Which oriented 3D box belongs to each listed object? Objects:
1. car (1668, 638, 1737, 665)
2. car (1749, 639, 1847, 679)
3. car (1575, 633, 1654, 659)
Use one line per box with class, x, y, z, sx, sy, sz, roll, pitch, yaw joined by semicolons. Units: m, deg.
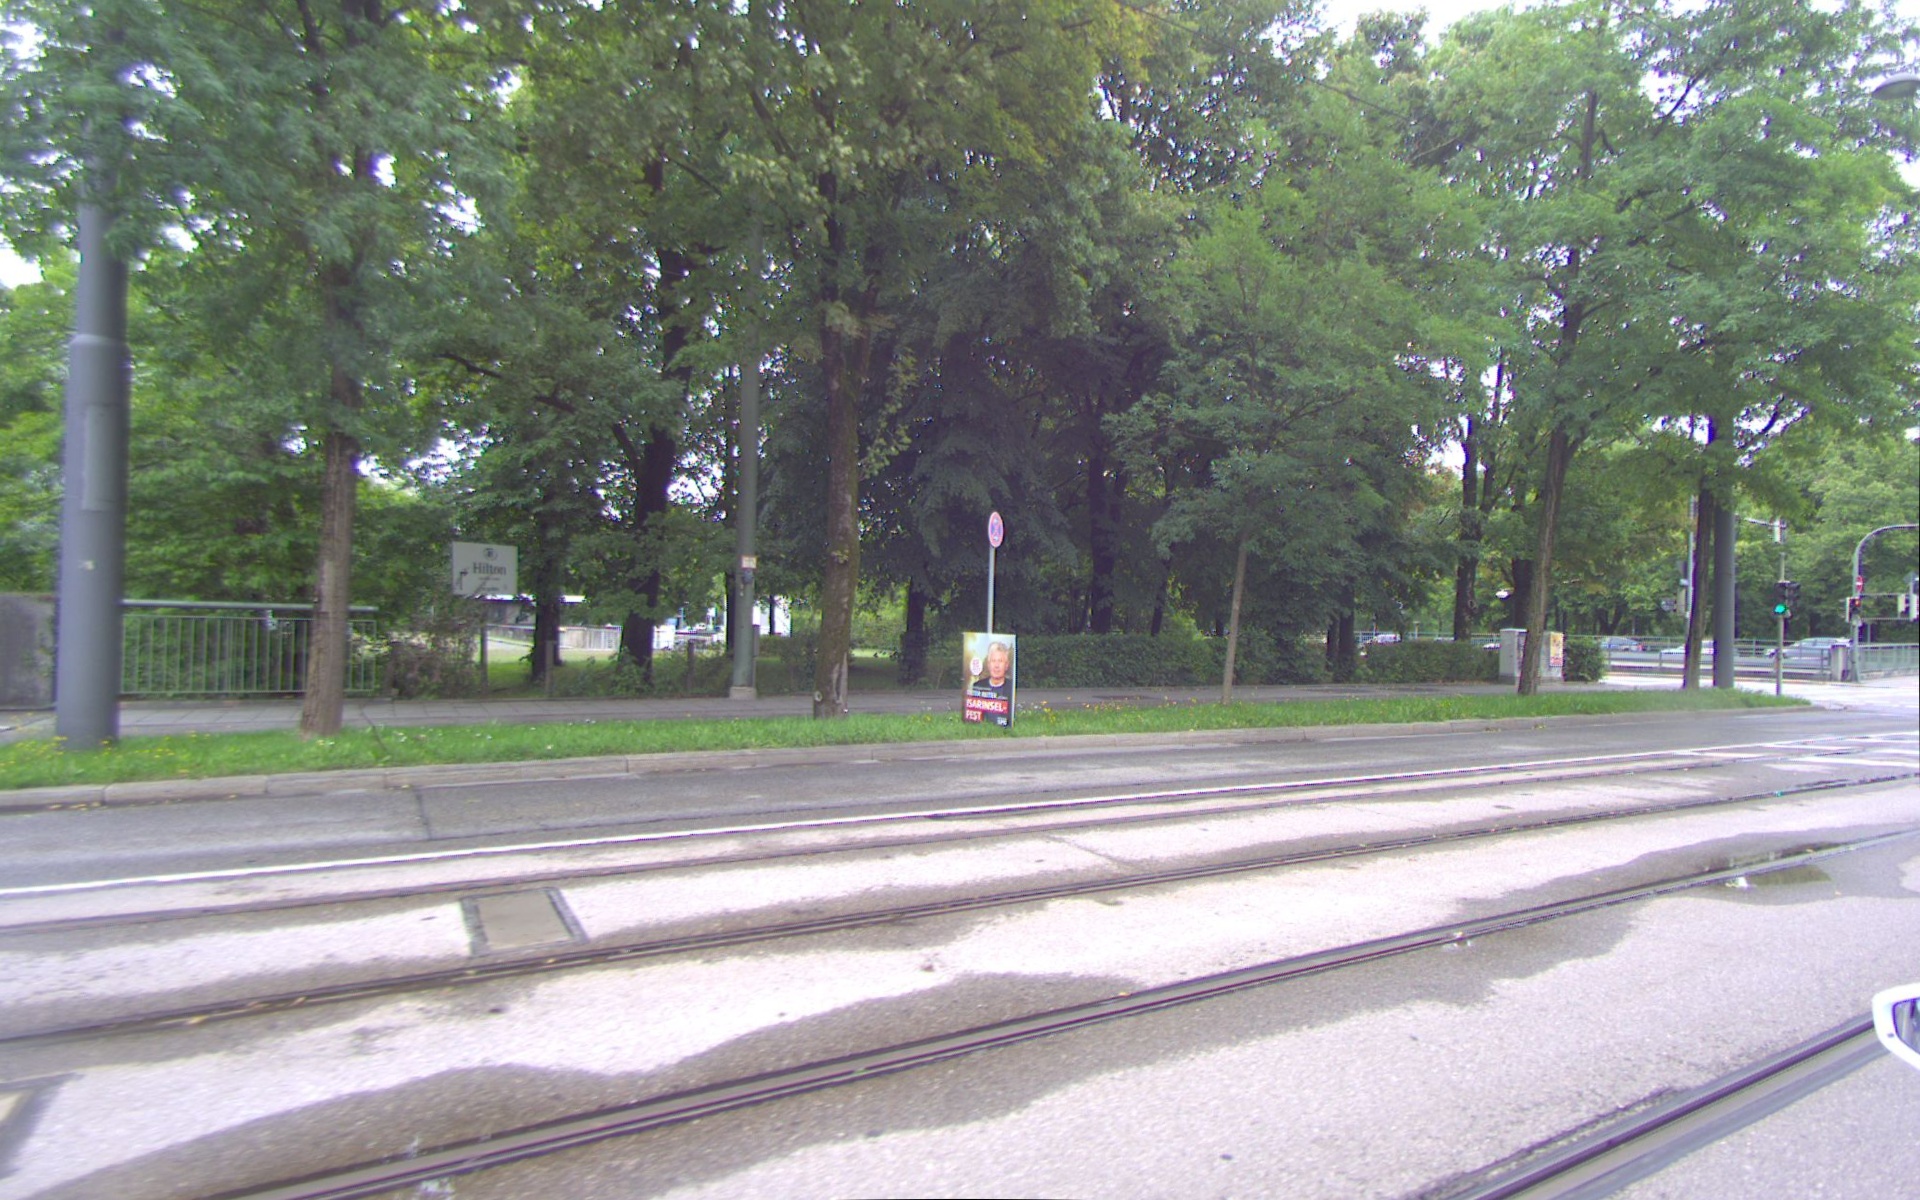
car;44.977;3.107;60.861;1.238;1.471;3.090;2;0;-34
car;47.501;3.318;57.015;1.476;1.912;3.994;2;0;-35
car;42.375;2.949;65.078;1.703;1.423;3.900;2;0;-33
